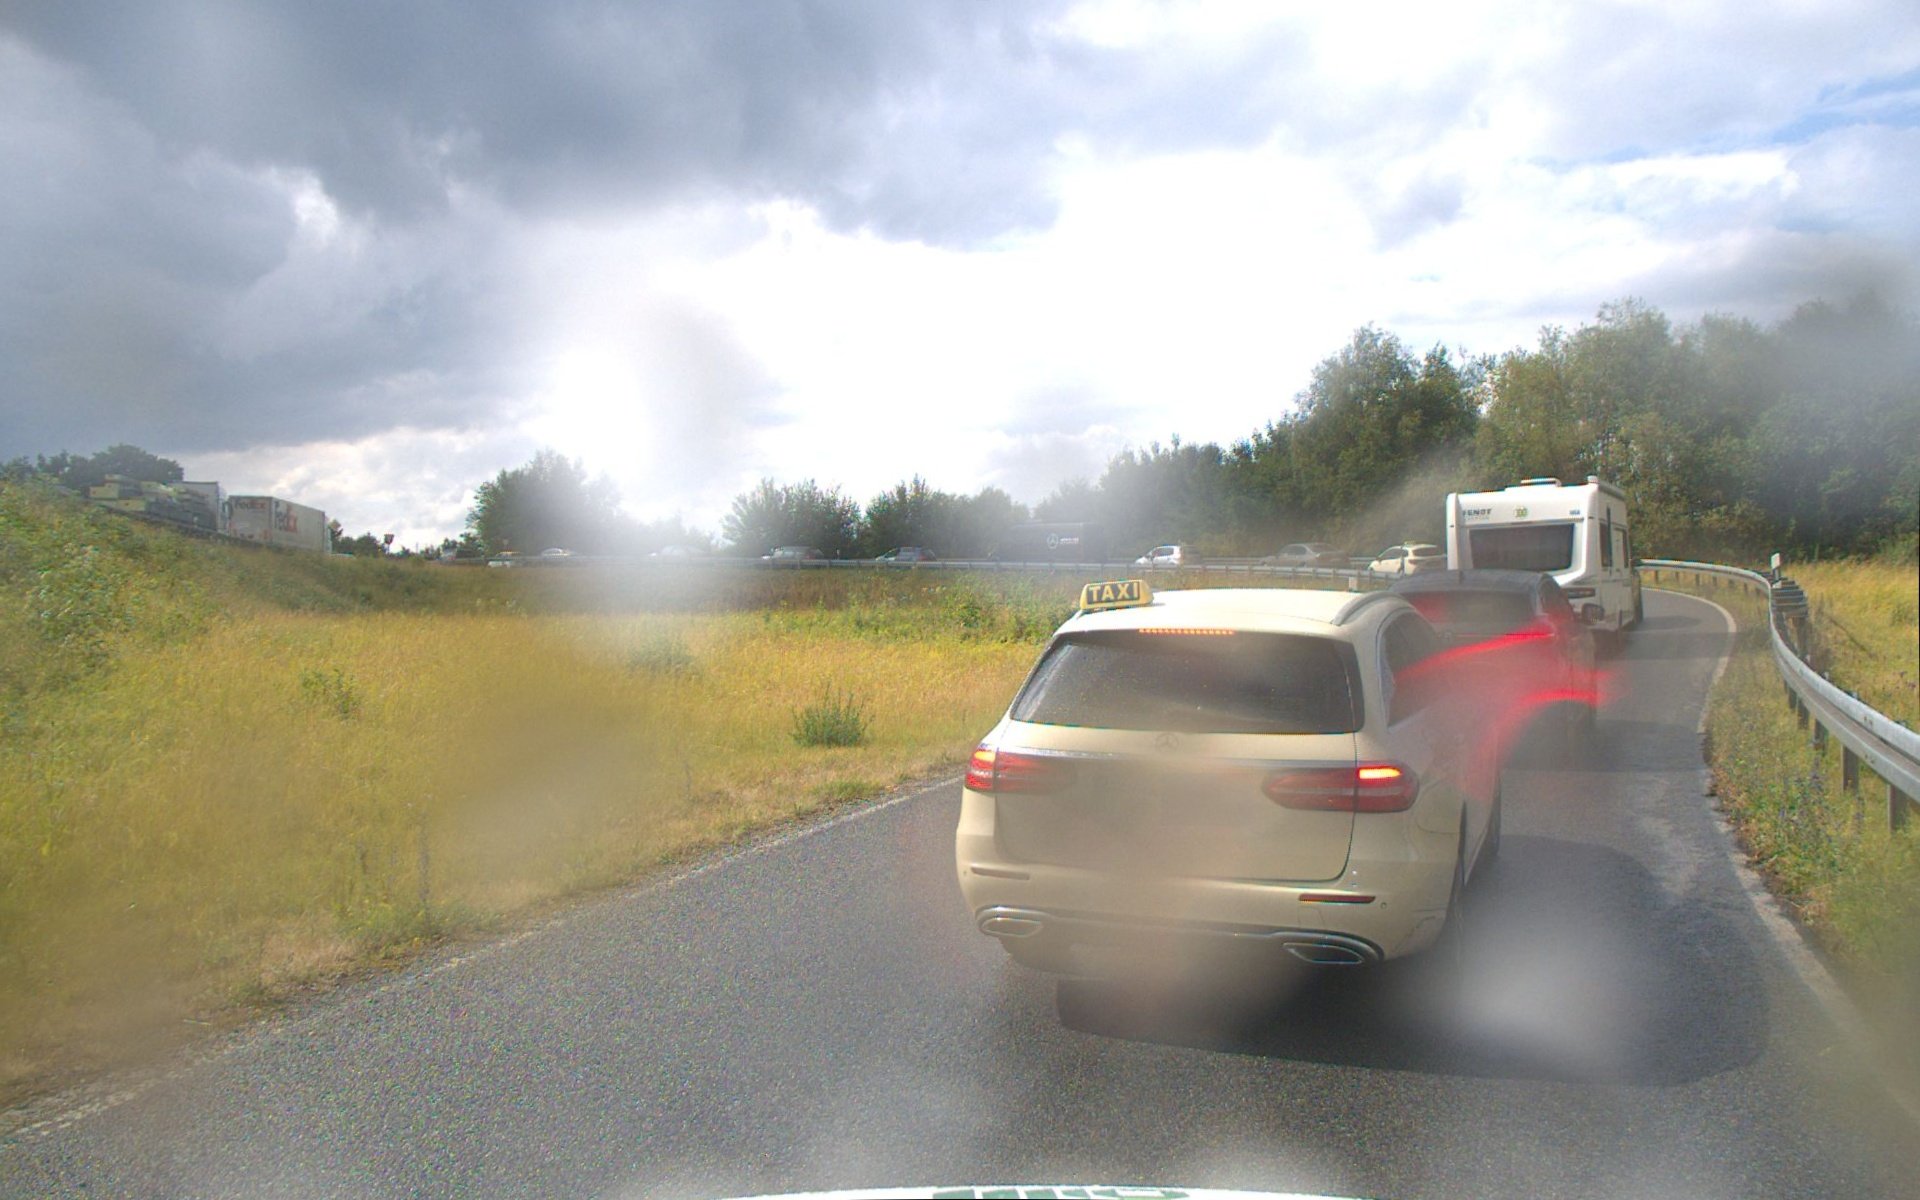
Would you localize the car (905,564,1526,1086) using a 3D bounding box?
[{"bbox_3d":[1.498,0.632,7.516,1.876,1.533,4.597,1,2,21],"label":"car"}]

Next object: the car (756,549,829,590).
[{"bbox_3d":[-9.921,-1.776,98.048,3.911,2.049,1.996,-3,-5,29],"label":"car"}]

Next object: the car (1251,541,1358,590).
[{"bbox_3d":[14.873,-1.483,71.713,1.968,1.894,5.019,-1,-1,-24],"label":"car"}]

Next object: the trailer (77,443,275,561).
[{"bbox_3d":[-39.725,-4.666,85.108,4.335,4.025,20.158,0,-2,-11],"label":"trailer"}]

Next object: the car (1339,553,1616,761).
[{"bbox_3d":[4.666,0.415,14.540,1.684,1.551,3.997,-3,0,26],"label":"car"}]

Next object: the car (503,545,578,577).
[{"bbox_3d":[-28.262,-2.596,111.409,4.947,1.894,1.996,-2,-1,30],"label":"car"}]

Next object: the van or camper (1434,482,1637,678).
[{"bbox_3d":[9.587,-0.478,27.164,2.383,2.776,5.998,0,4,27],"label":"van or camper"}]

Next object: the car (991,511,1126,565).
[{"bbox_3d":[5.142,-3.244,87.310,6.864,2.640,2.856,0,1,44],"label":"car"}]

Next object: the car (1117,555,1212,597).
[{"bbox_3d":[10.025,-1.157,81.439,1.974,1.894,5.002,-1,-1,-32],"label":"car"}]

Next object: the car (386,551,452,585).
[{"bbox_3d":[-33.876,-1.991,103.654,3.924,2.049,1.818,0,-3,-17],"label":"car"}]

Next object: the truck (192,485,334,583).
[{"bbox_3d":[-43.499,-3.882,104.236,4.381,4.582,19.318,0,-2,-11],"label":"truck"}]

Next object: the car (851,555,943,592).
[{"bbox_3d":[-3.583,-1.488,93.816,4.953,1.894,1.994,-2,-1,34],"label":"car"}]

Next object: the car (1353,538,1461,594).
[{"bbox_3d":[16.686,-1.230,62.067,1.957,1.893,5.047,-3,1,-9],"label":"car"}]

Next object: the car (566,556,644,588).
[{"bbox_3d":[-22.690,-1.767,105.729,4.400,1.894,2.002,-2,-1,14],"label":"car"}]

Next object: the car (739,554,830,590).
[{"bbox_3d":[-10.381,-1.630,97.771,4.937,1.894,2.000,-2,-1,22],"label":"car"}]

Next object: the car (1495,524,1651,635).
[{"bbox_3d":[12.127,-0.481,32.439,2.380,1.959,5.757,0,2,25],"label":"car"}]
